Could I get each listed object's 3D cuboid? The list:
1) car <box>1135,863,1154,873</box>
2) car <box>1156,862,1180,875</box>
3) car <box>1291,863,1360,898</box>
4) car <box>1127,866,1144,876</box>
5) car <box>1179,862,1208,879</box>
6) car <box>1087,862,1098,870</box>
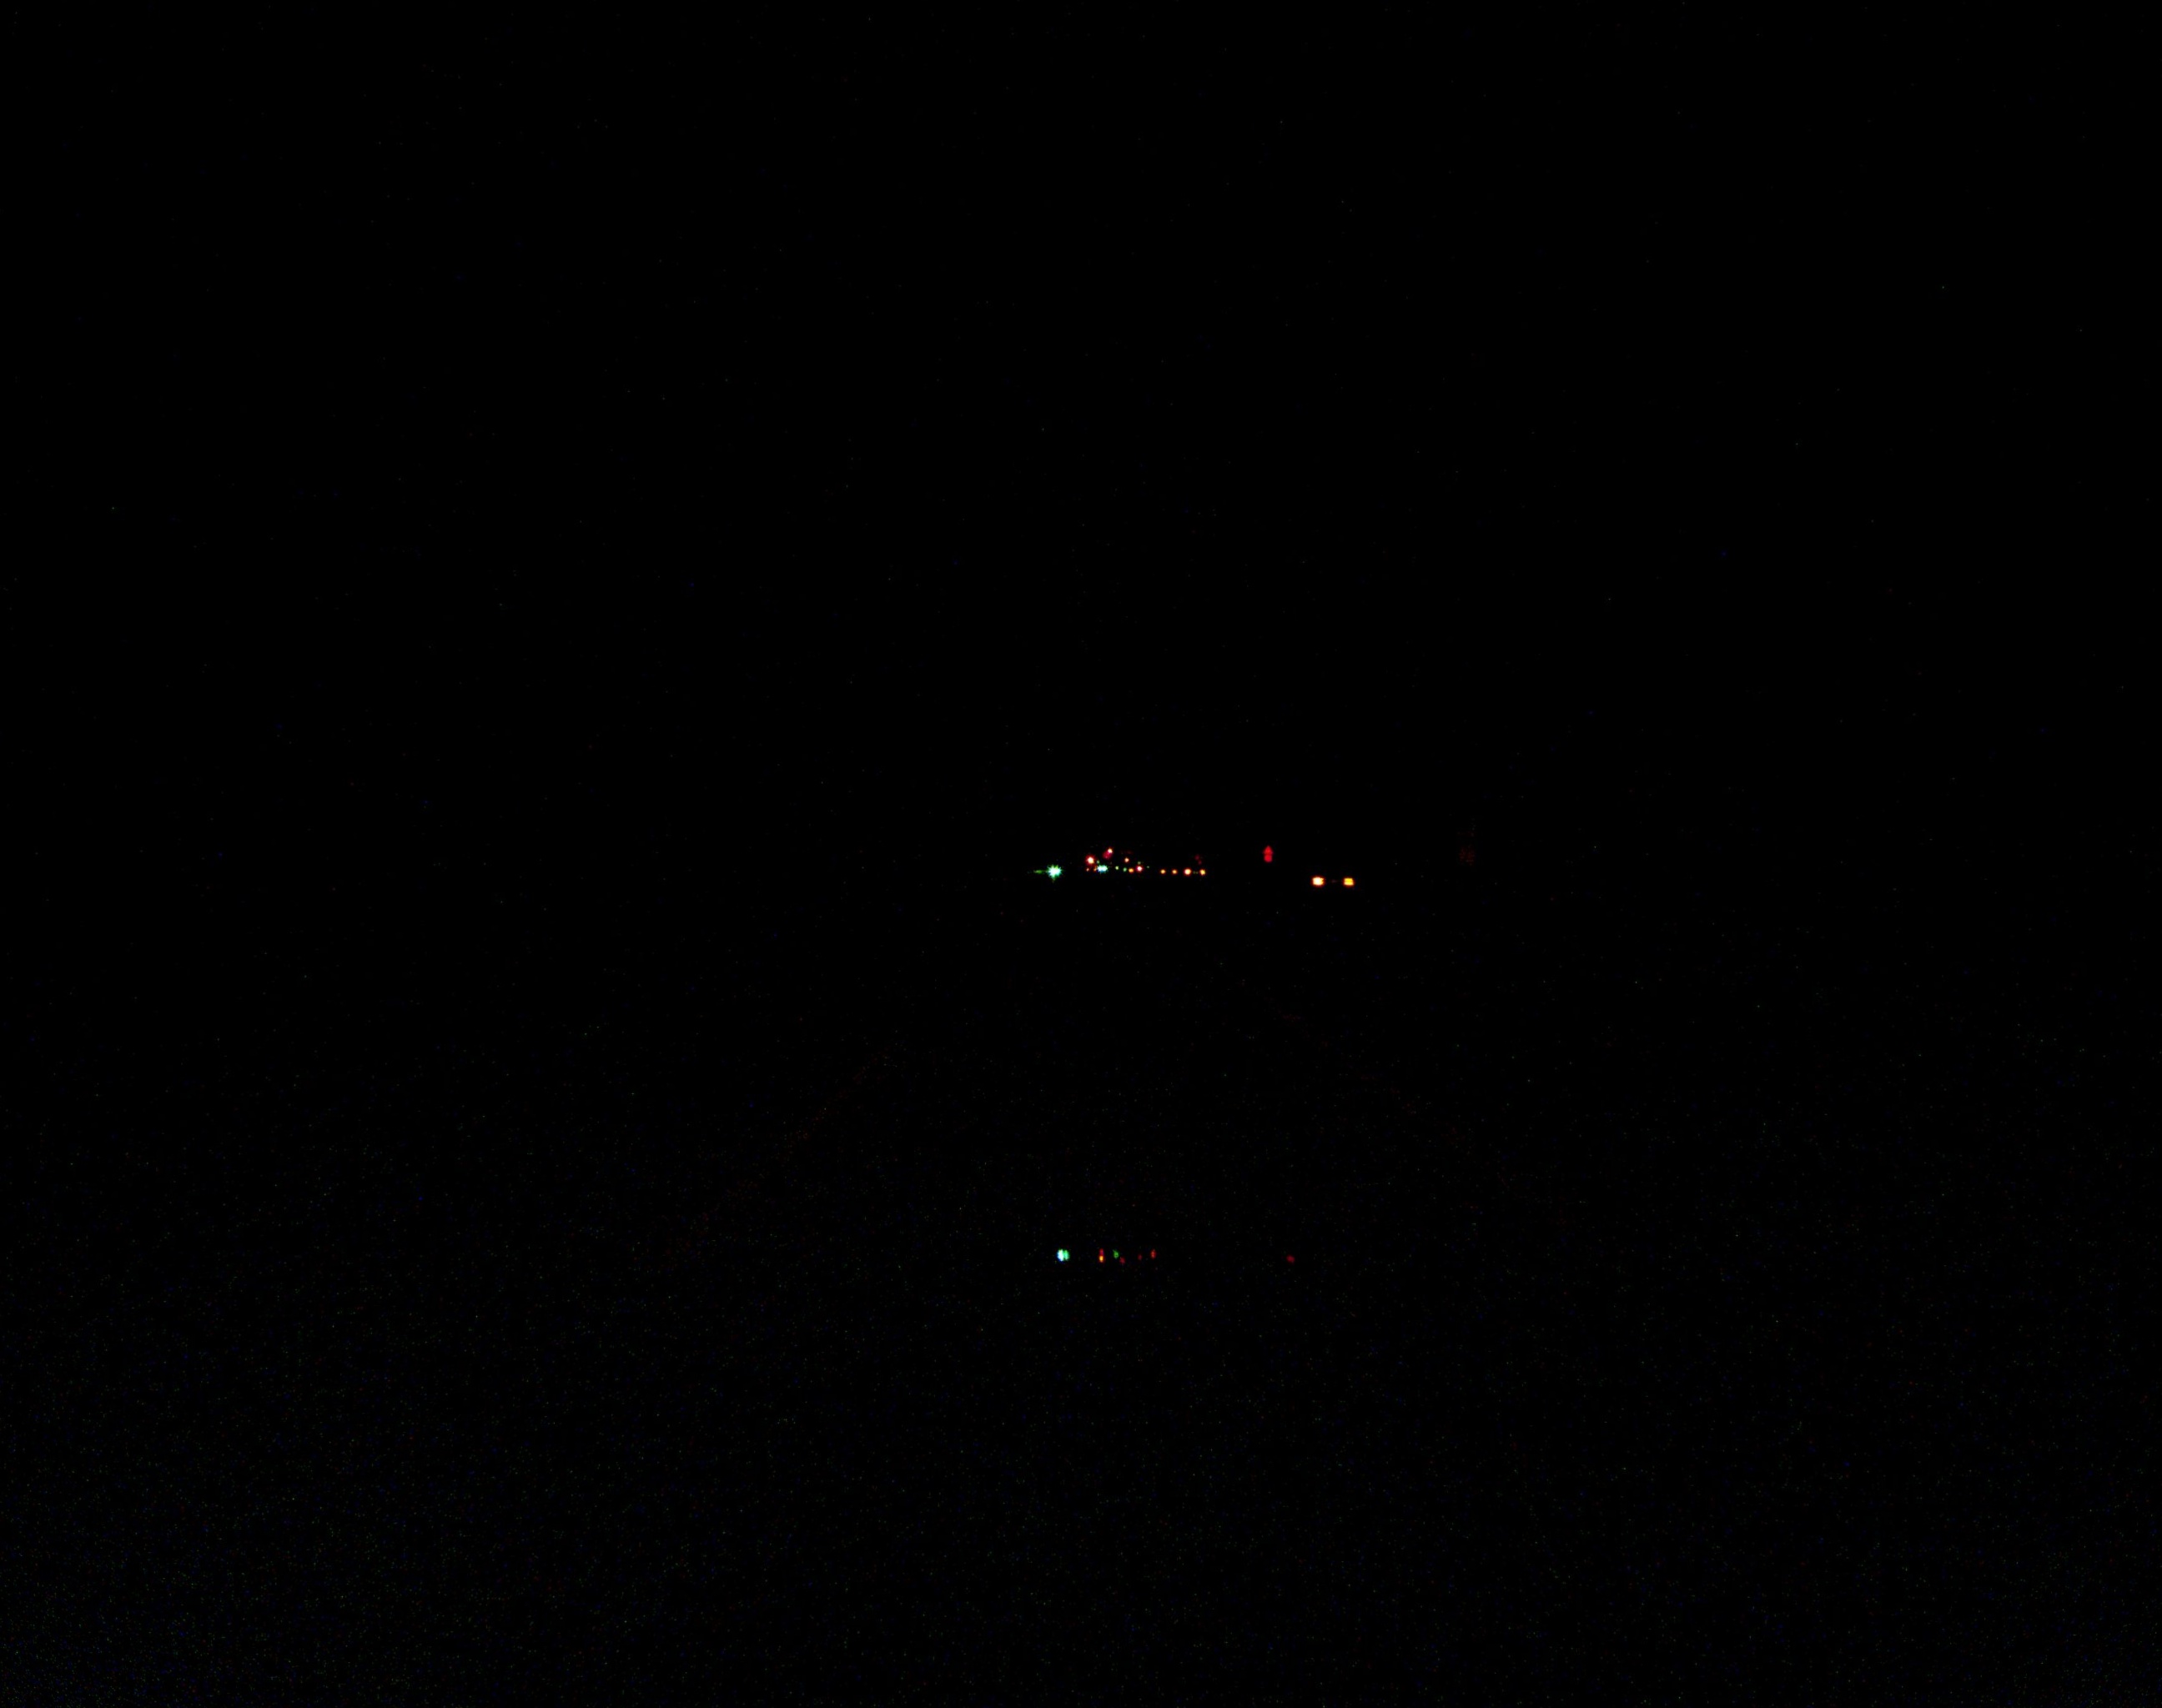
[{"bbox_3d":[9.450,2.070,112.976,2.127,1.544,4.697,-1,0,-4],"label":"car"},{"bbox_3d":[10.394,1.698,91.132,2.127,1.544,4.697,-1,0,-4],"label":"car"},{"bbox_3d":[11.720,1.229,36.756,1.958,1.477,4.699,1,0,3],"label":"car"},{"bbox_3d":[9.113,2.846,127.591,2.127,1.544,4.697,-1,0,-4],"label":"car"},{"bbox_3d":[11.075,1.610,75.167,2.127,1.620,4.698,-1,0,0],"label":"car"},{"bbox_3d":[2.074,2.236,141.690,1.931,1.510,4.000,-1,0,-1],"label":"car"}]
